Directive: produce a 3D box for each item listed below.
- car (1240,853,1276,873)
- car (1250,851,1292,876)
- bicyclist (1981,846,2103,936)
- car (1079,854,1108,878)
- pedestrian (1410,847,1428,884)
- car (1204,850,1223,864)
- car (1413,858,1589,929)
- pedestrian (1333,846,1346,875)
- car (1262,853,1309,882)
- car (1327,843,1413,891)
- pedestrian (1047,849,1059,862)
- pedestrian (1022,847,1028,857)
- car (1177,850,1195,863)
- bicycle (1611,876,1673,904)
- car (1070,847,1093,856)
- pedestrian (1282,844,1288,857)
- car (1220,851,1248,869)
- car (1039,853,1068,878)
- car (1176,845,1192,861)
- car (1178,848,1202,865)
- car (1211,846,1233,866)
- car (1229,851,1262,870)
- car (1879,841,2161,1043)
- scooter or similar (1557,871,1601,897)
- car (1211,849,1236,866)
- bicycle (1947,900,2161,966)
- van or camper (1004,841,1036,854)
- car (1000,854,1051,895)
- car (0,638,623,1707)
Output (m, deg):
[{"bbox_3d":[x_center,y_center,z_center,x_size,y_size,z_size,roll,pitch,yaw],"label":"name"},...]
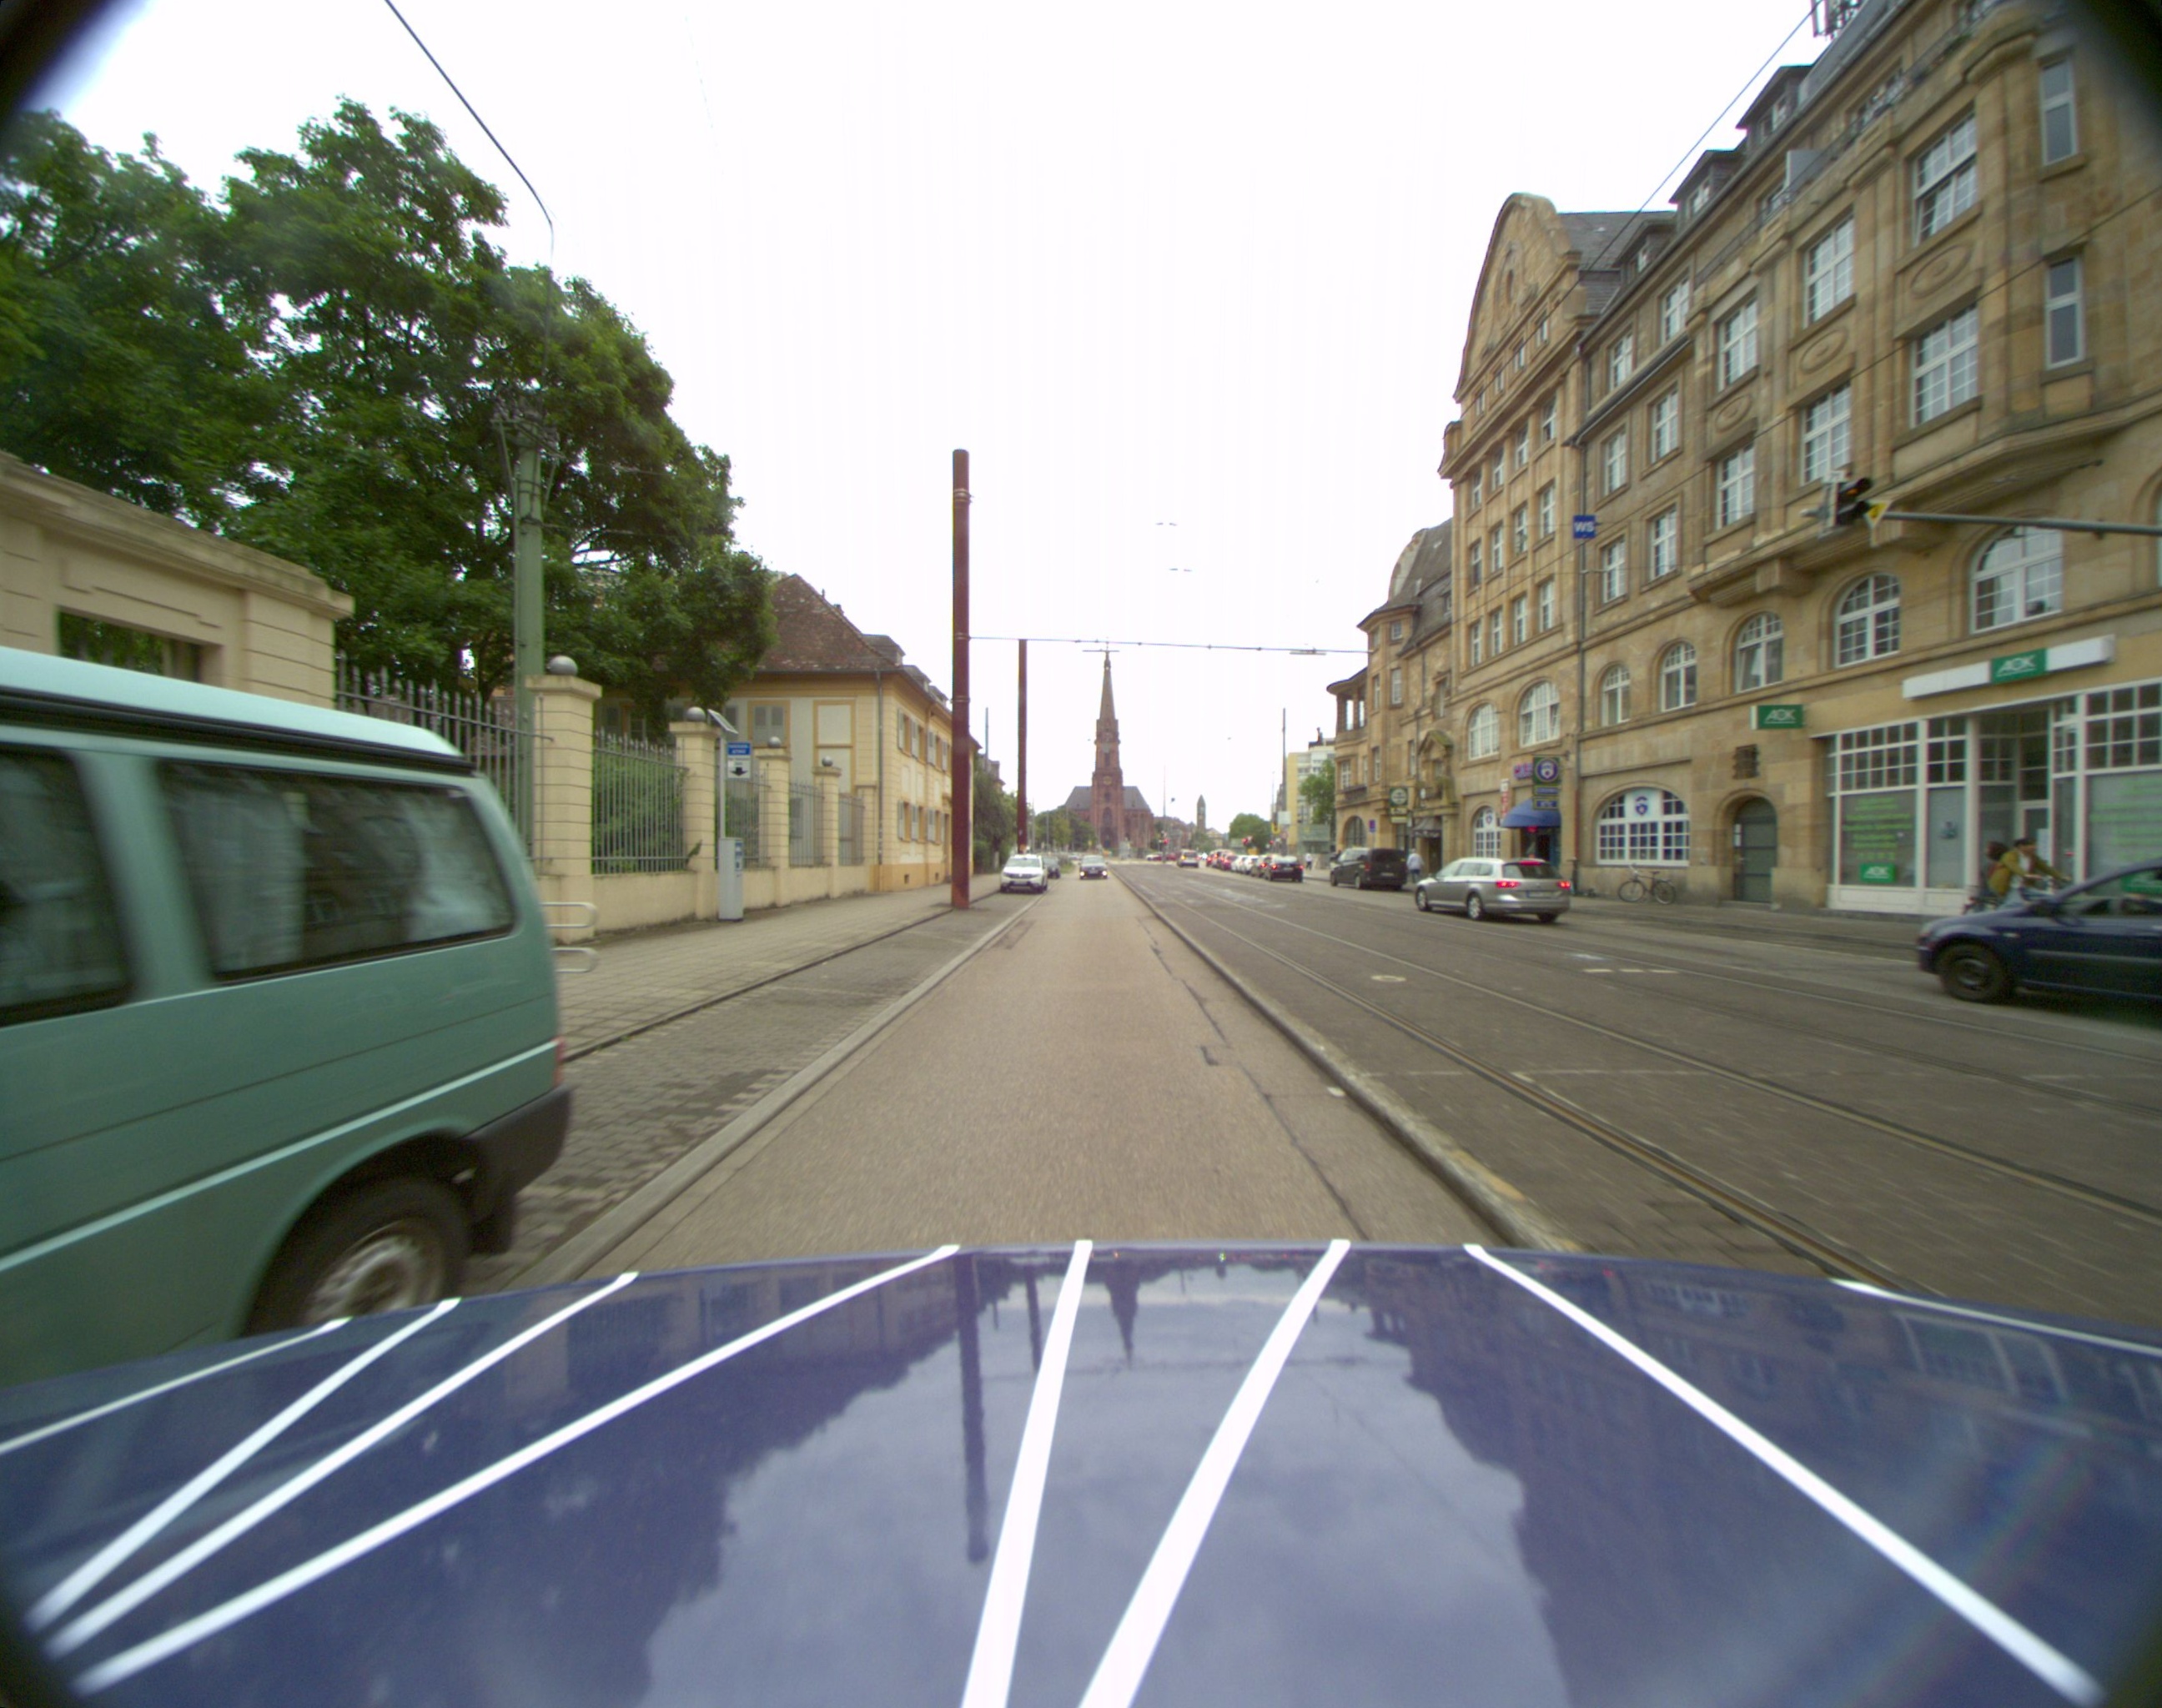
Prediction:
[{"bbox_3d":[12.762,0.590,55.026,1.930,1.372,4.259,0,0,4],"label":"car"},{"bbox_3d":[12.111,0.568,48.682,1.903,1.502,4.429,1,0,4],"label":"car"},{"bbox_3d":[14.651,0.535,11.614,0.612,1.316,0.972,0,1,1],"label":"bicyclist"},{"bbox_3d":[0.725,0.691,45.822,1.655,1.404,3.999,0,0,0],"label":"car"},{"bbox_3d":[15.897,0.520,35.782,0.599,1.718,0.523,0,1,-3],"label":"pedestrian"},{"bbox_3d":[14.682,0.322,84.471,1.692,1.434,4.001,0,1,5],"label":"car"},{"bbox_3d":[9.851,0.841,18.323,1.763,1.441,4.614,0,0,1],"label":"car"},{"bbox_3d":[15.688,0.375,46.152,0.496,1.718,0.765,0,1,-2],"label":"pedestrian"},{"bbox_3d":[11.314,0.698,42.311,1.830,1.425,4.669,2,0,7],"label":"car"},{"bbox_3d":[12.998,0.540,34.526,1.904,1.966,5.097,2,0,0],"label":"car"},{"bbox_3d":[-3.957,0.181,107.249,1.283,1.856,0.889,0,1,34],"label":"pedestrian"},{"bbox_3d":[-10.476,-0.423,142.299,0.782,1.932,0.980,0,1,-22],"label":"pedestrian"},{"bbox_3d":[11.533,0.264,83.543,1.692,1.434,4.001,0,1,5],"label":"car"},{"bbox_3d":[16.531,1.051,22.443,0.583,0.741,1.706,0,0,1],"label":"bicycle"},{"bbox_3d":[0.115,-0.439,144.882,3.988,1.740,2.004,1,2,37],"label":"car"},{"bbox_3d":[25.757,-0.431,95.814,0.601,1.718,0.914,0,1,26],"label":"pedestrian"},{"bbox_3d":[13.272,0.512,66.144,1.867,1.391,3.896,2,1,4],"label":"car"},{"bbox_3d":[-1.716,0.710,48.778,1.641,1.425,3.930,2,0,0],"label":"car"},{"bbox_3d":[12.098,-0.128,89.263,1.692,1.889,4.387,0,1,5],"label":"car"},{"bbox_3d":[11.078,0.246,77.373,1.867,1.696,4.909,1,0,2],"label":"car"},{"bbox_3d":[14.455,0.181,78.112,1.867,1.905,5.102,0,0,6],"label":"car"},{"bbox_3d":[13.069,0.519,60.650,1.751,1.372,4.362,3,1,2],"label":"car"},{"bbox_3d":[9.751,0.722,6.158,1.763,1.662,4.614,0,0,1],"label":"car"},{"bbox_3d":[16.468,0.991,25.159,0.583,0.798,1.345,0,1,1],"label":"scooter or similar"},{"bbox_3d":[13.406,0.276,71.802,1.867,1.525,4.304,2,1,6],"label":"car"},{"bbox_3d":[14.670,1.150,11.496,0.583,0.741,2.250,0,0,1],"label":"bicycle"},{"bbox_3d":[-11.911,-1.261,148.217,6.034,2.596,2.427,0,2,31],"label":"van or camper"},{"bbox_3d":[-2.250,0.805,31.870,1.759,1.565,3.930,2,0,0],"label":"car"},{"bbox_3d":[-2.819,0.647,0.541,1.856,2.103,4.984,3,1,1],"label":"car"}]
